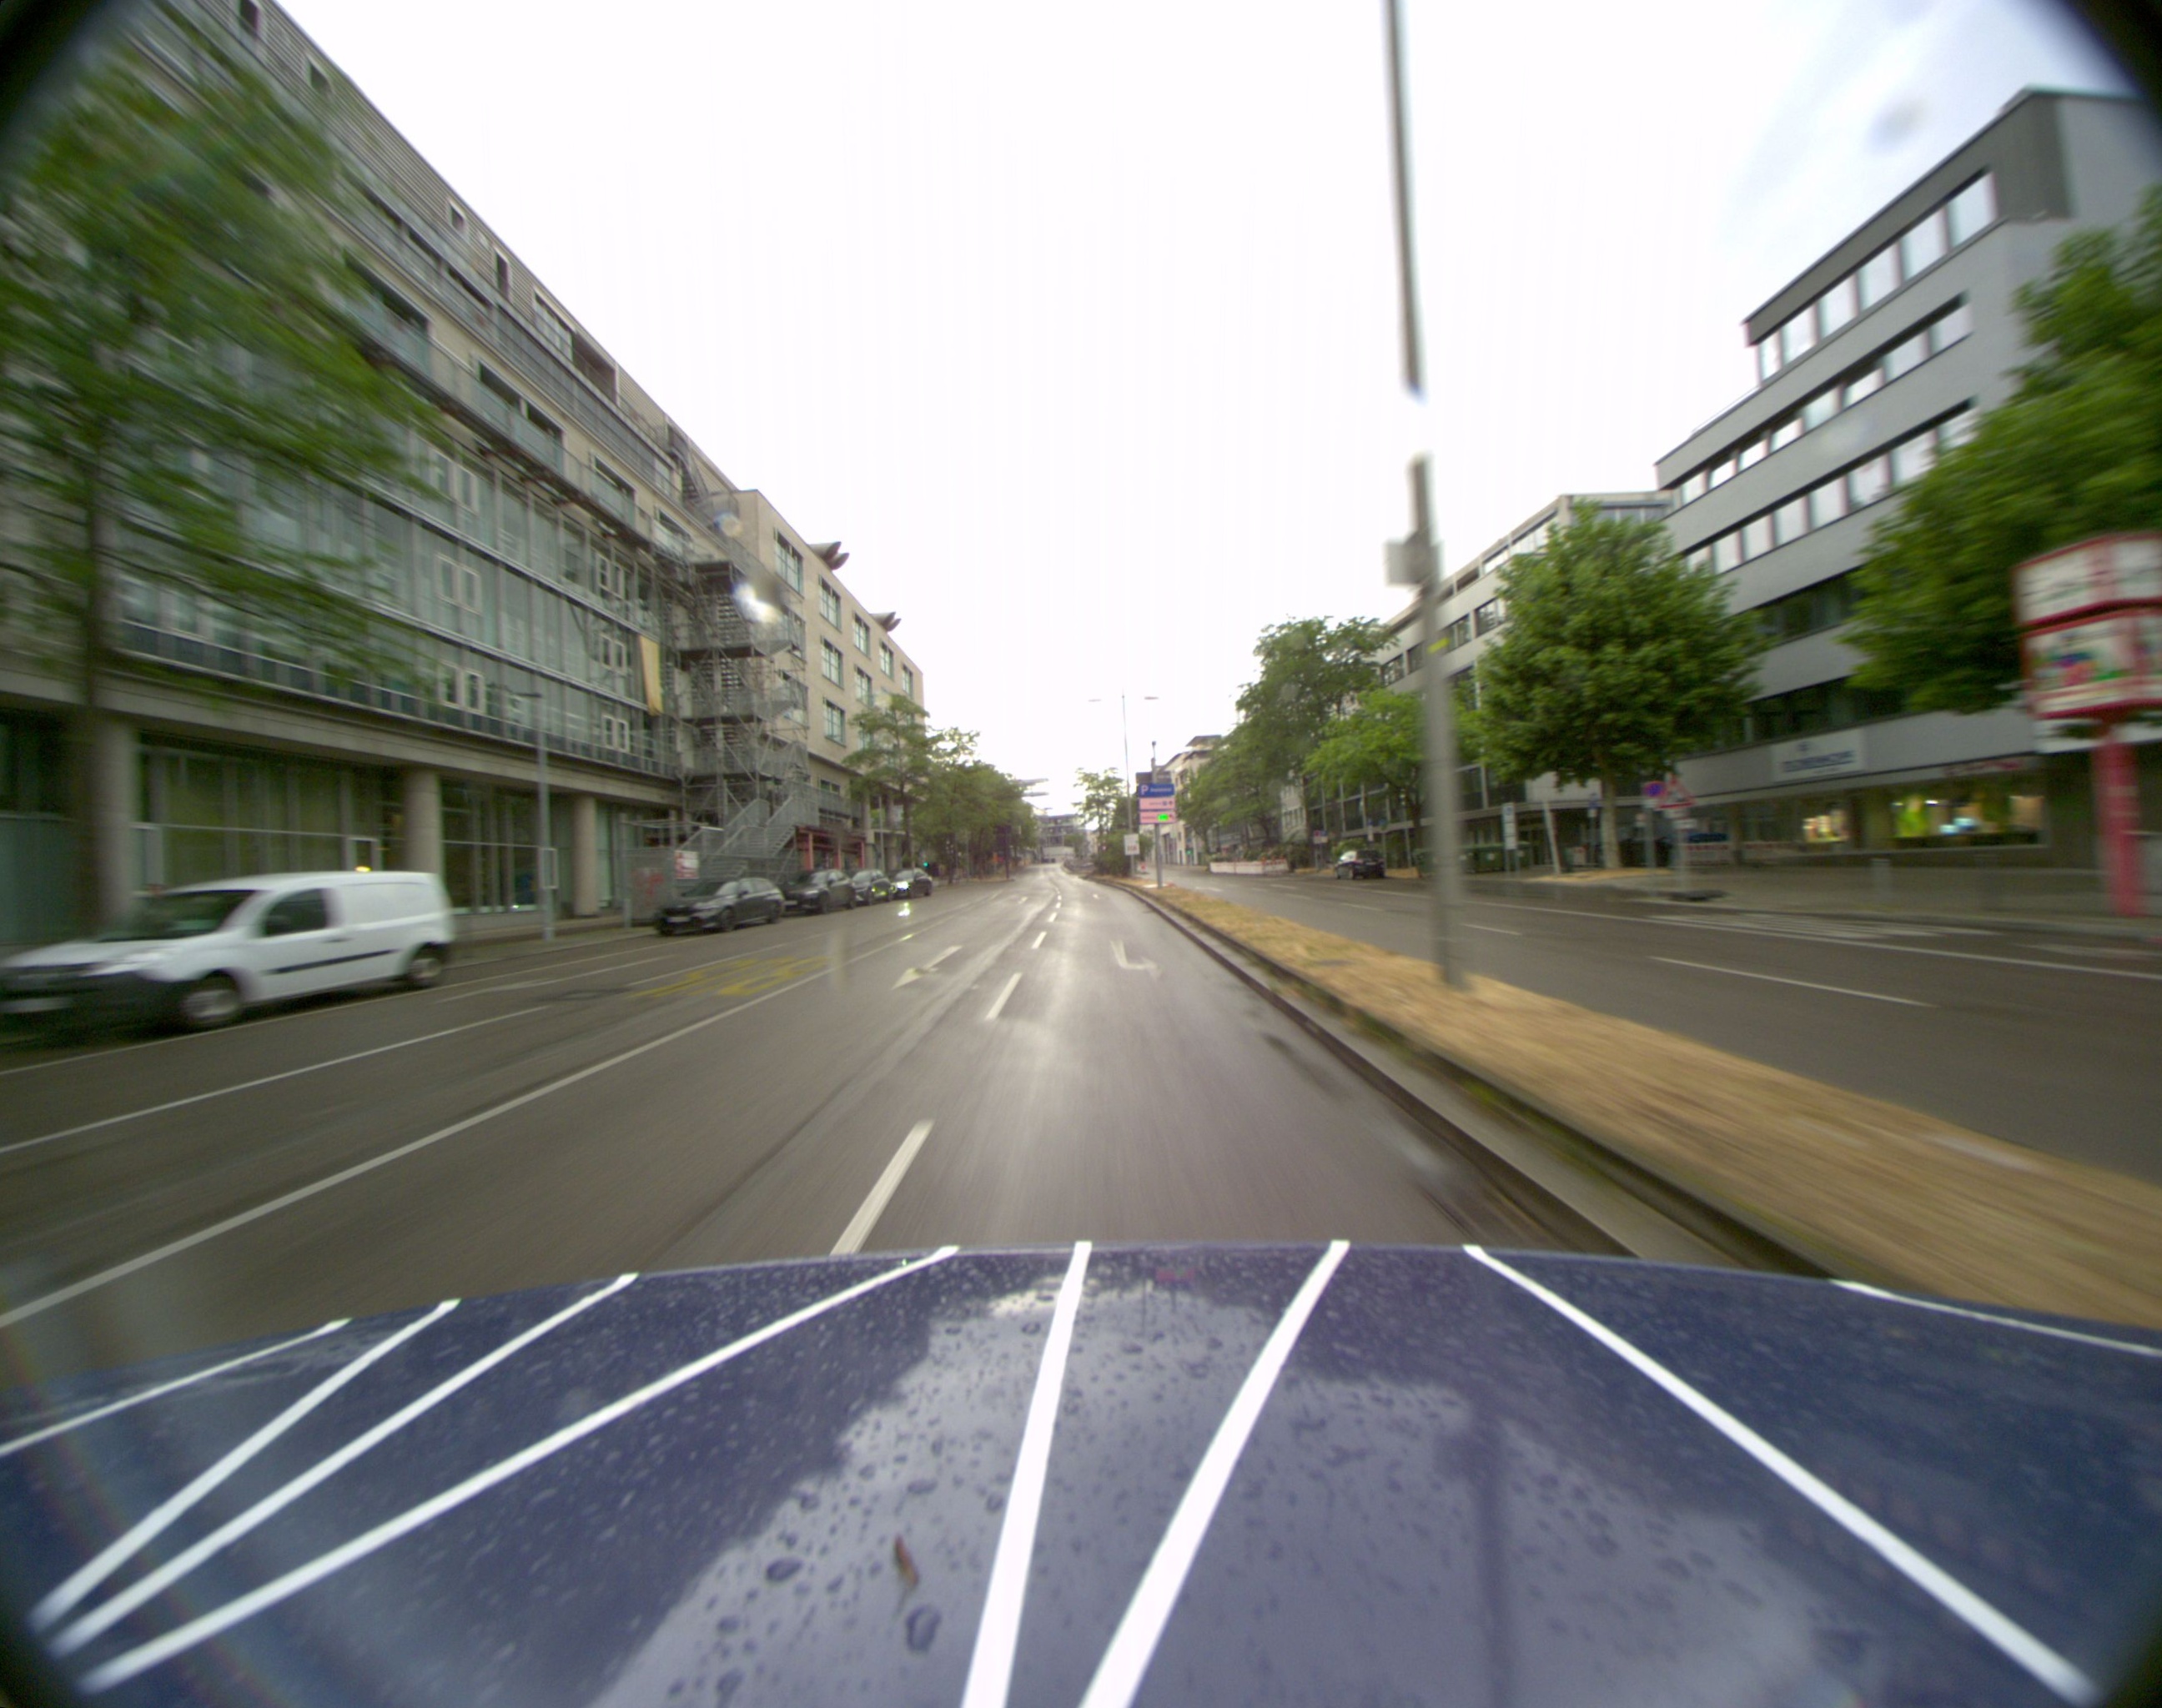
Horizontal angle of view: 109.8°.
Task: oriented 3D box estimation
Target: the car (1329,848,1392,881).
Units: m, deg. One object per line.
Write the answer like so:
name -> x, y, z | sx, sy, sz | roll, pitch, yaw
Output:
car -> 15.102, 0.536, 41.224 | 1.783, 1.626, 4.023 | -2, 0, -2

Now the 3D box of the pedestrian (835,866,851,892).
pedestrian -> -15.465, 1.611, 49.322 | 0.705, 1.586, 0.923 | -2, 0, -1

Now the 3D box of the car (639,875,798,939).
car -> -10.012, 1.407, 21.517 | 1.873, 1.429, 4.922 | -2, 0, 3

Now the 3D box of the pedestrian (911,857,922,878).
pedestrian -> -15.961, 1.308, 73.853 | 0.871, 2.002, 0.758 | -2, 0, -3

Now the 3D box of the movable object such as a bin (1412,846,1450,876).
movable object such as a bin -> 17.365, 0.354, 37.732 | 1.362, 1.418, 1.088 | -2, 0, 1

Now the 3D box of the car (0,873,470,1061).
car -> -10.746, 1.196, 9.775 | 1.998, 1.739, 4.527 | -2, 0, 1

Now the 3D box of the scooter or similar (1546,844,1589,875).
scooter or similar -> 19.441, 0.239, 30.396 | 0.777, 1.114, 1.324 | -5, -3, 2

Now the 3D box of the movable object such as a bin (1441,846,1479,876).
movable object such as a bin -> 18.806, 0.321, 37.727 | 1.281, 1.418, 1.088 | -2, 0, 1

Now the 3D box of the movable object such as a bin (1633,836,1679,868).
movable object such as a bin -> 27.075, -0.090, 35.801 | 1.088, 1.427, 1.281 | -2, 0, -8

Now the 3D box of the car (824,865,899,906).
car -> -9.615, 1.333, 33.684 | 1.866, 1.591, 4.593 | -2, 0, 1

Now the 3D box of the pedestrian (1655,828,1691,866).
pedestrian -> 26.508, -0.308, 34.027 | 0.872, 1.678, 0.895 | -3, 0, -21

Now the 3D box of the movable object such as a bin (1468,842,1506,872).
movable object such as a bin -> 20.153, 0.129, 37.745 | 1.281, 1.418, 1.088 | -2, 0, 1

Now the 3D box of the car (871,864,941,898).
car -> -8.991, 1.350, 39.601 | 1.998, 1.591, 5.291 | -2, 0, 4

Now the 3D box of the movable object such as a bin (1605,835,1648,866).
movable object such as a bin -> 26.677, -0.157, 37.183 | 1.088, 1.427, 1.281 | -2, 0, -8

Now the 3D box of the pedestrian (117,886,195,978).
pedestrian -> -18.230, 1.521, 14.994 | 0.677, 1.732, 0.653 | -2, 0, 3

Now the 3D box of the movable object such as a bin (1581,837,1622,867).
movable object such as a bin -> 26.497, -0.091, 38.722 | 1.088, 1.427, 1.281 | -2, 0, -8

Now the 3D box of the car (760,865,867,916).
car -> -9.788, 1.289, 28.310 | 1.998, 1.636, 4.863 | -2, 0, 3

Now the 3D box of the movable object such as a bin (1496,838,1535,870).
movable object such as a bin -> 21.547, 0.006, 37.730 | 1.281, 1.479, 1.088 | -2, 0, 1
